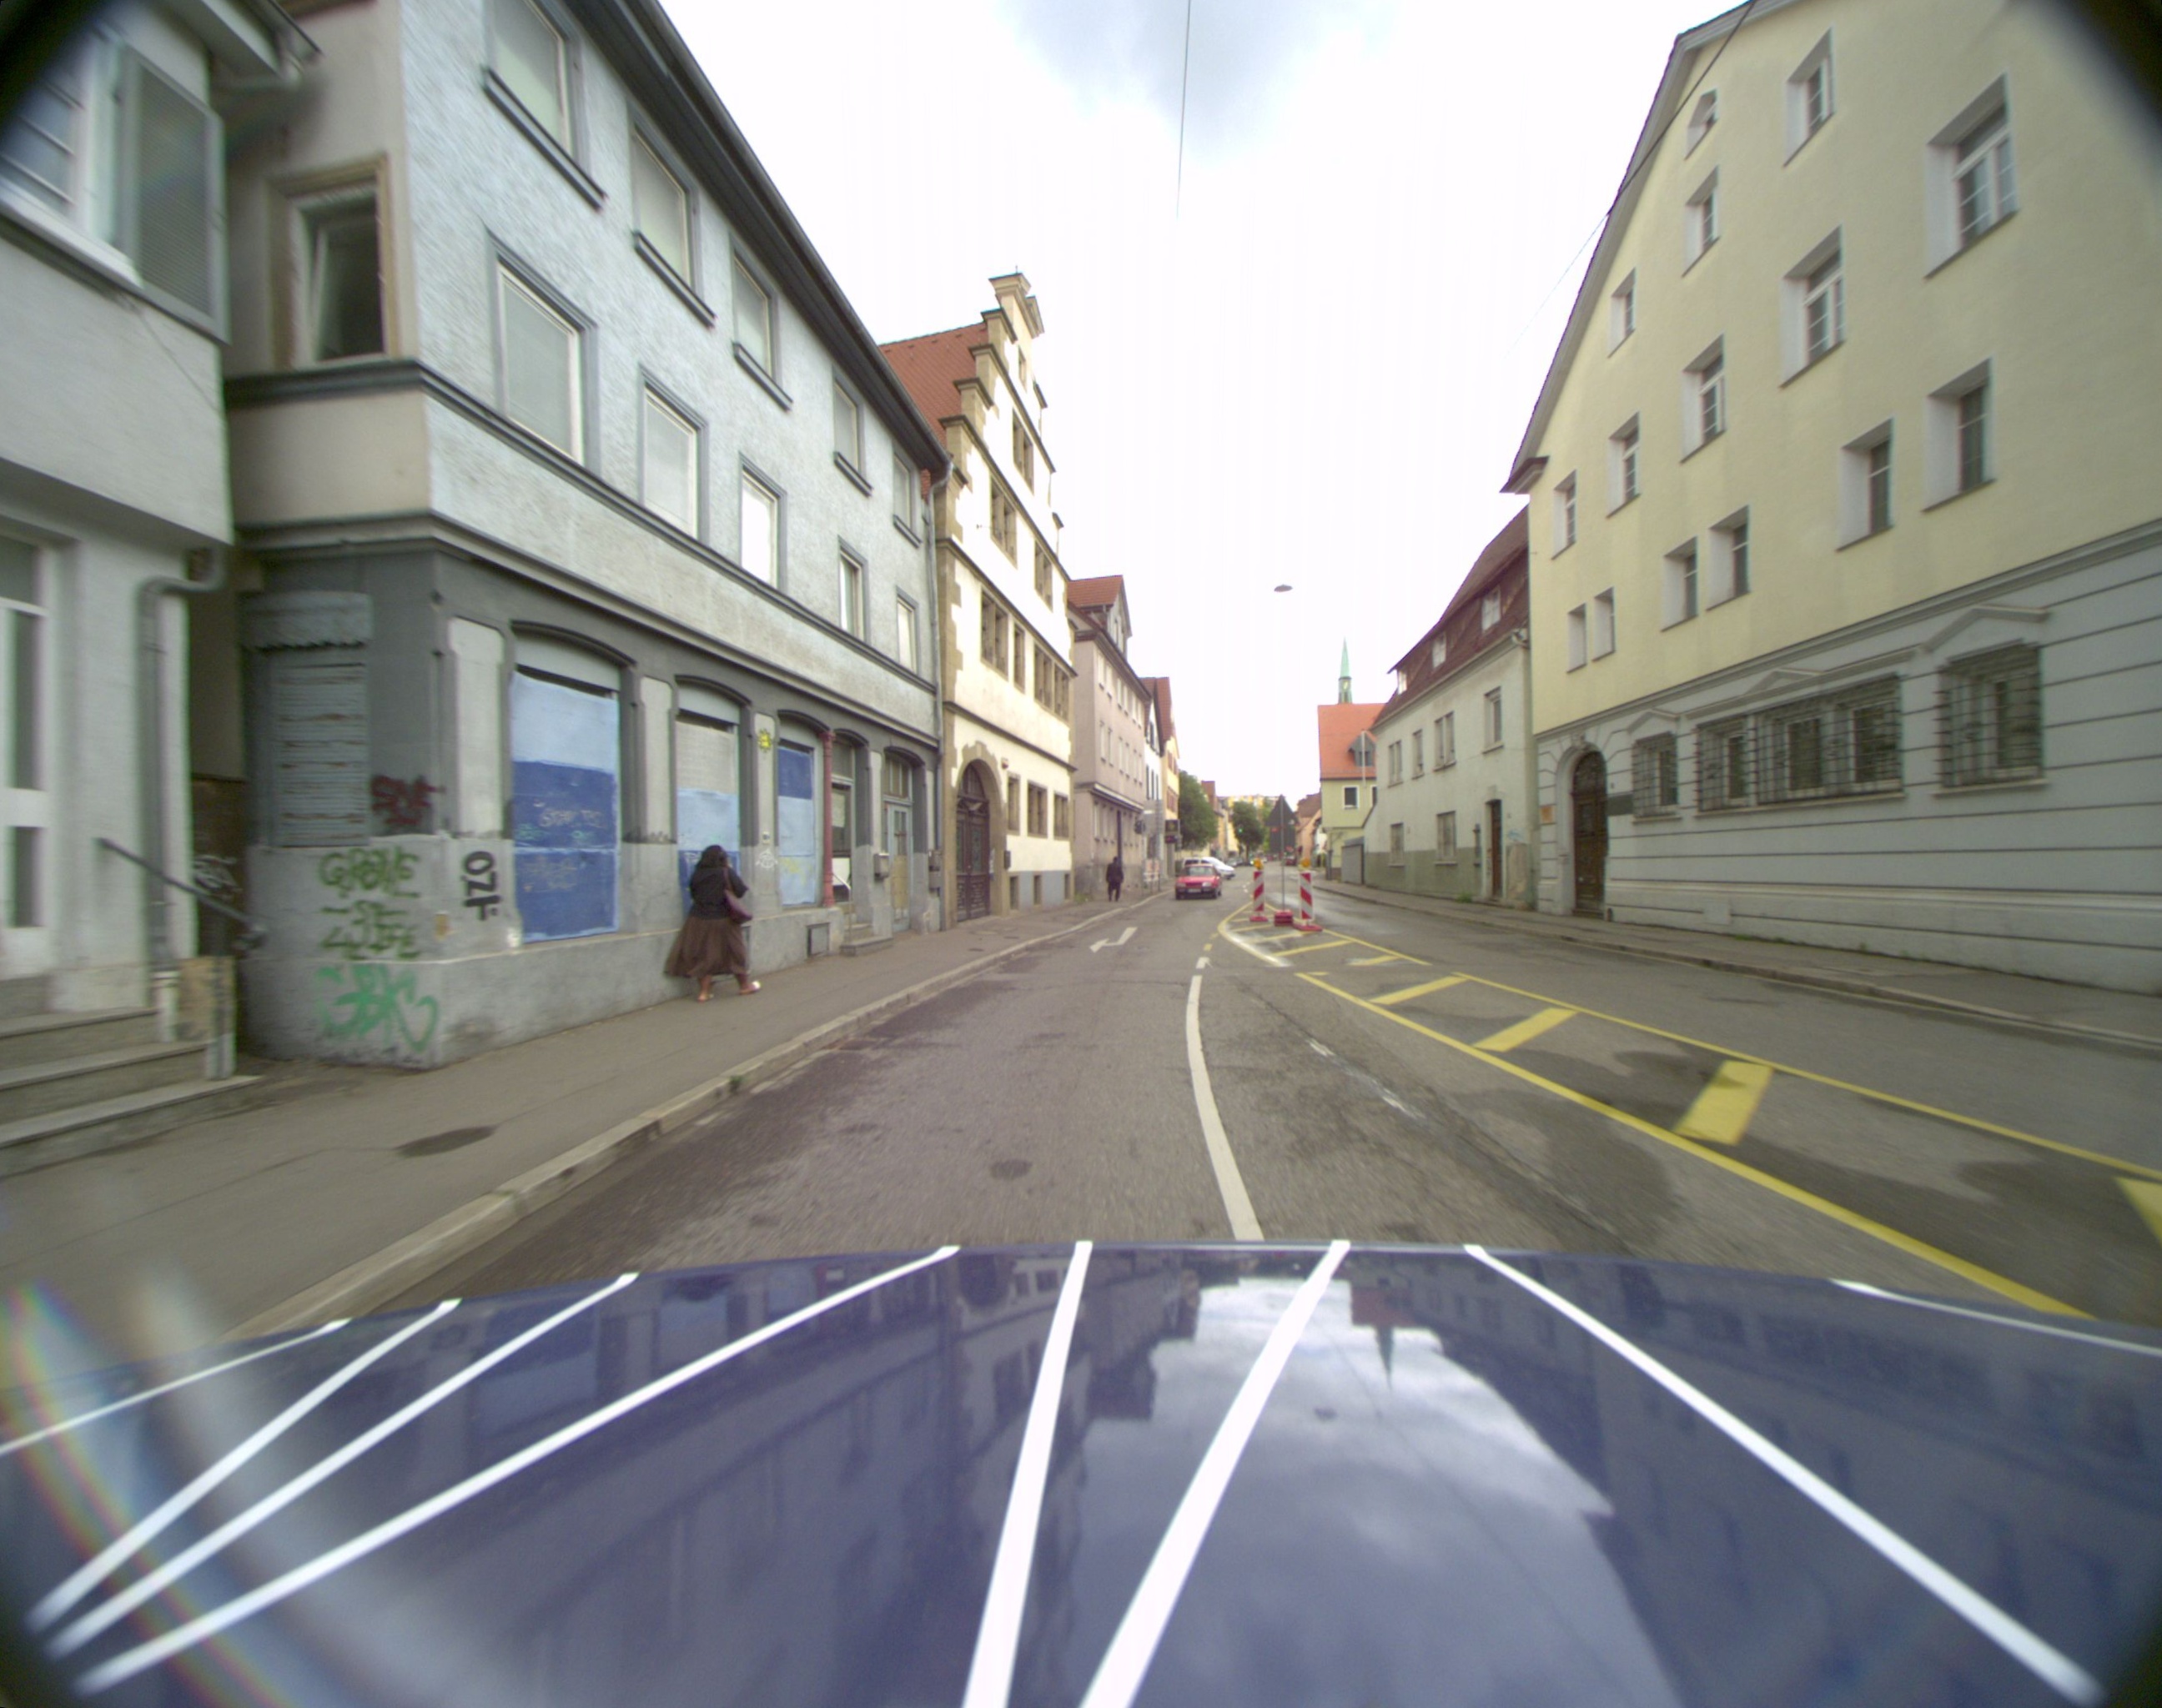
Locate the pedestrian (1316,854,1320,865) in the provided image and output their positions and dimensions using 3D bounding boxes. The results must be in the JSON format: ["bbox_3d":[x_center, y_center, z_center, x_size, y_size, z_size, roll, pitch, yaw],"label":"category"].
[{"bbox_3d":[34.503,0.760,110.605,0.637,1.596,0.712,0,1,14],"label":"pedestrian"}]

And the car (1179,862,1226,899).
[{"bbox_3d":[5.157,1.084,31.938,1.684,1.418,4.026,-1,-1,13],"label":"car"}]

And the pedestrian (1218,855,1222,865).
[{"bbox_3d":[20.245,0.923,110.780,0.599,1.435,0.772,0,1,11],"label":"pedestrian"}]

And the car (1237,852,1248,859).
[{"bbox_3d":[31.129,0.286,146.181,1.820,1.380,4.005,0,0,16],"label":"car"}]

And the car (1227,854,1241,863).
[{"bbox_3d":[25.277,0.744,125.432,2.031,1.546,4.004,0,0,13],"label":"car"}]

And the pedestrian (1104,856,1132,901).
[{"bbox_3d":[1.380,0.899,28.266,0.833,1.646,0.945,2,0,14],"label":"pedestrian"}]

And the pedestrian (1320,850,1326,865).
[{"bbox_3d":[35.077,0.535,110.240,0.757,2.109,0.784,-1,-1,14],"label":"pedestrian"}]

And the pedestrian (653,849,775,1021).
[{"bbox_3d":[-3.766,0.794,7.853,0.756,1.657,0.809,2,0,7],"label":"pedestrian"}]

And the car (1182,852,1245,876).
[{"bbox_3d":[10.366,0.747,59.533,4.454,1.777,2.004,0,1,38],"label":"car"}]

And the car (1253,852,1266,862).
[{"bbox_3d":[31.348,0.511,133.359,1.996,1.668,4.004,-1,1,14],"label":"car"}]

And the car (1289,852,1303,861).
[{"bbox_3d":[39.308,0.395,138.940,2.210,1.668,4.503,0,0,13],"label":"car"}]
